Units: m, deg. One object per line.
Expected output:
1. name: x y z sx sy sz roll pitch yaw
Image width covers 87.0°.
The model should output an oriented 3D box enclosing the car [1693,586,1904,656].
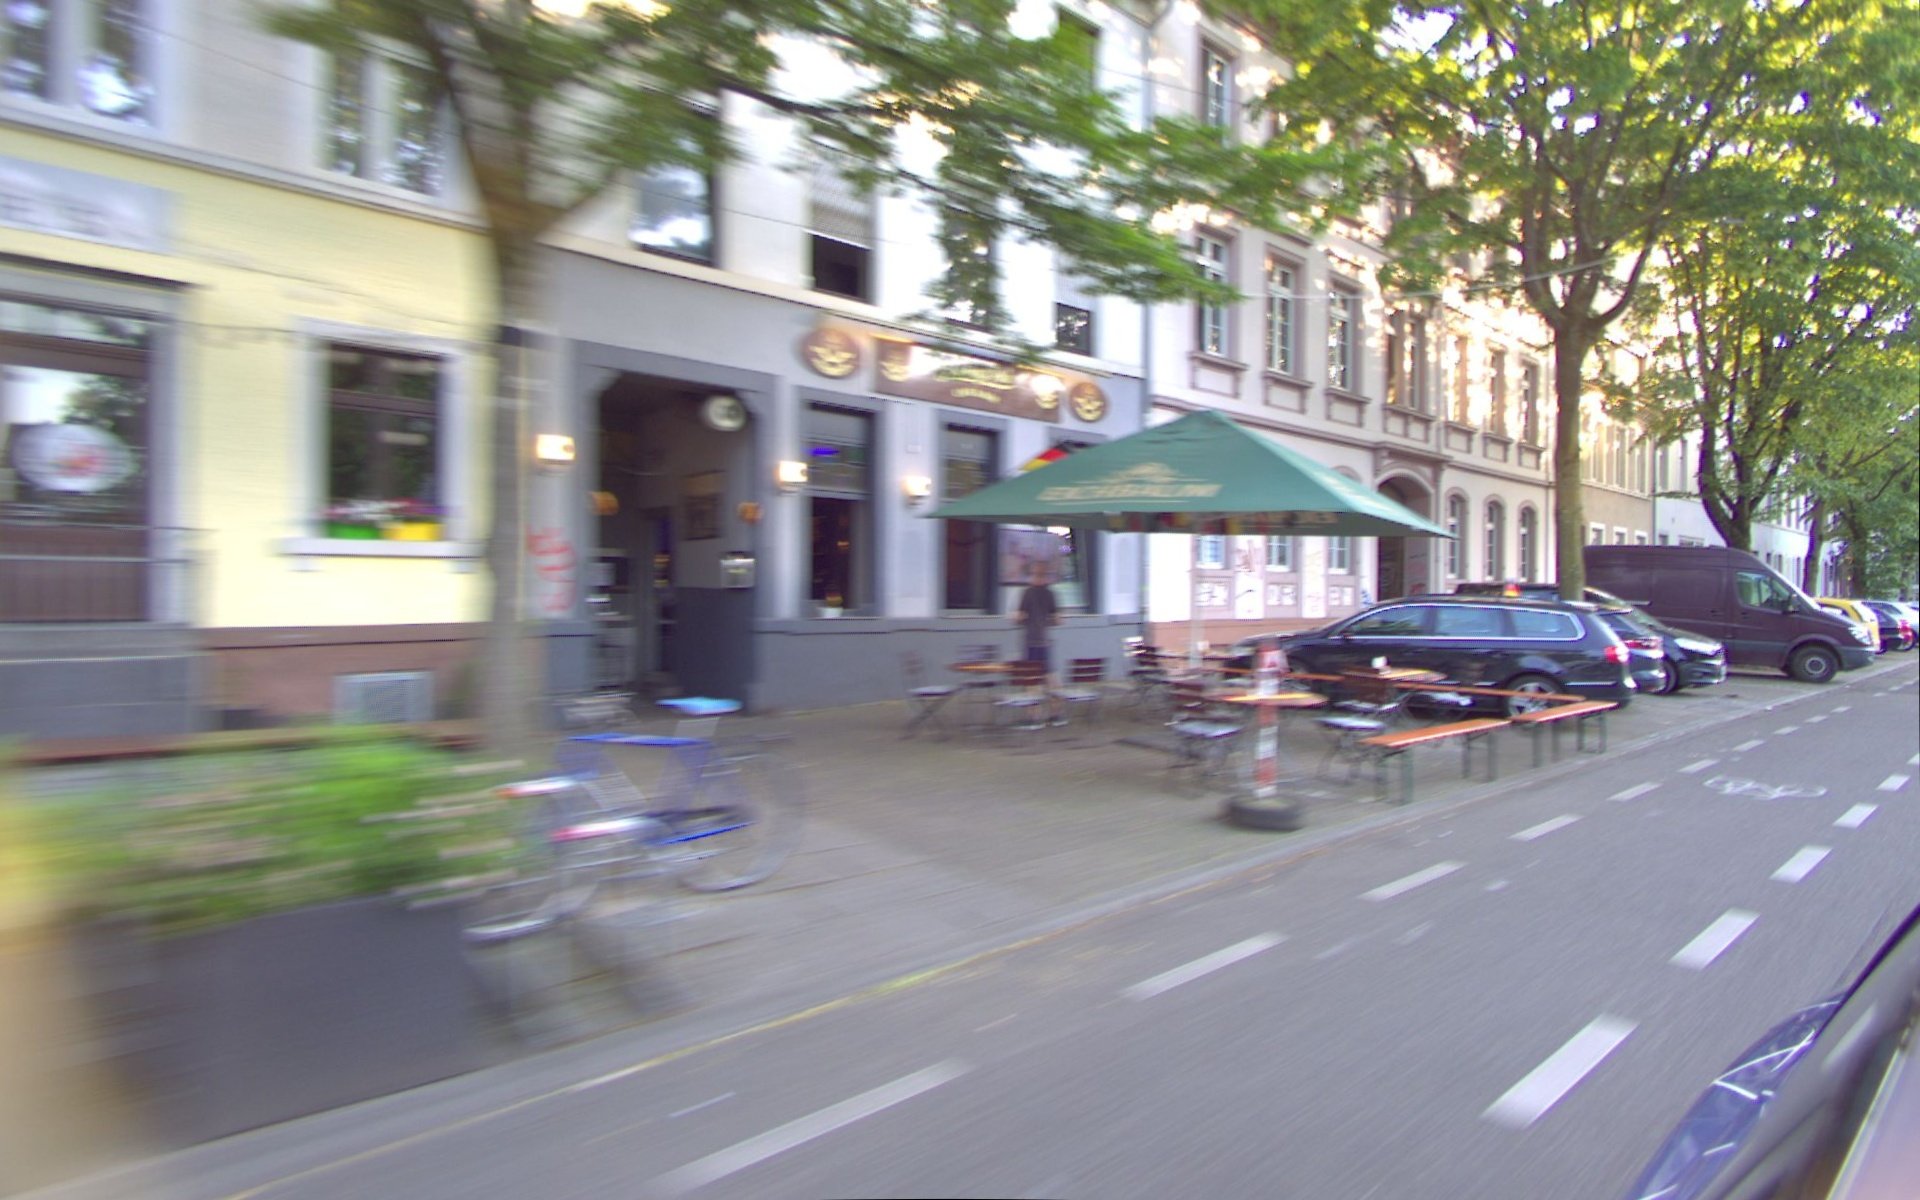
1. car: 21.883 0.502 26.536 1.691 1.619 3.992 2 1 -39

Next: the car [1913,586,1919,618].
1. car: 55.662 0.185 56.041 3.970 1.792 1.700 2 1 35

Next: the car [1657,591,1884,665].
1. car: 18.978 0.604 23.957 3.966 1.504 1.702 2 1 33

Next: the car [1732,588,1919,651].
1. car: 24.944 0.508 29.174 1.691 1.595 3.992 2 1 -39

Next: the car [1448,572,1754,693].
1. car: 10.584 0.452 16.923 1.692 1.720 3.989 2 1 -42

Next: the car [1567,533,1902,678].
1. car: 15.549 0.003 20.772 5.196 2.653 1.905 2 2 34

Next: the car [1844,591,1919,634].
1. car: 37.615 0.526 39.894 3.970 1.595 1.700 2 1 35

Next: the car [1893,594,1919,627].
1. car: 48.572 0.581 49.575 3.970 1.595 1.700 2 1 35

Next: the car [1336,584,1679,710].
1. car: 7.749 0.576 14.524 4.092 1.471 1.788 2 1 35

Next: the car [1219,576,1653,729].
1. car: 5.747 0.547 12.744 4.586 1.536 1.796 2 0 24

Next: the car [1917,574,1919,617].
1. car: 60.006 -0.186 60.407 1.691 2.599 3.991 2 1 -40

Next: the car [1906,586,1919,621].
1. car: 53.003 0.262 53.593 3.970 1.863 1.700 2 1 35

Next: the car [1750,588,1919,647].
1. car: 27.002 0.501 31.109 1.691 1.595 3.992 2 1 -39

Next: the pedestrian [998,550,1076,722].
1. pedestrian: 0.821 0.366 10.832 0.633 1.774 0.499 0 1 -36

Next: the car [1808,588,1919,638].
1. car: 31.920 0.463 34.833 3.970 1.595 1.700 2 1 35

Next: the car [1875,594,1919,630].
1. car: 44.937 0.591 46.559 3.970 1.595 1.700 2 1 35

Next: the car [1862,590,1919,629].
1. car: 41.338 0.427 43.225 3.970 1.595 1.700 2 1 35

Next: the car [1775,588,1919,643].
1. car: 28.859 0.485 32.589 3.974 1.595 1.698 2 1 38

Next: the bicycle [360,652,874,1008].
1. bicycle: -1.408 0.839 4.431 1.991 1.139 0.763 1 -1 -41
